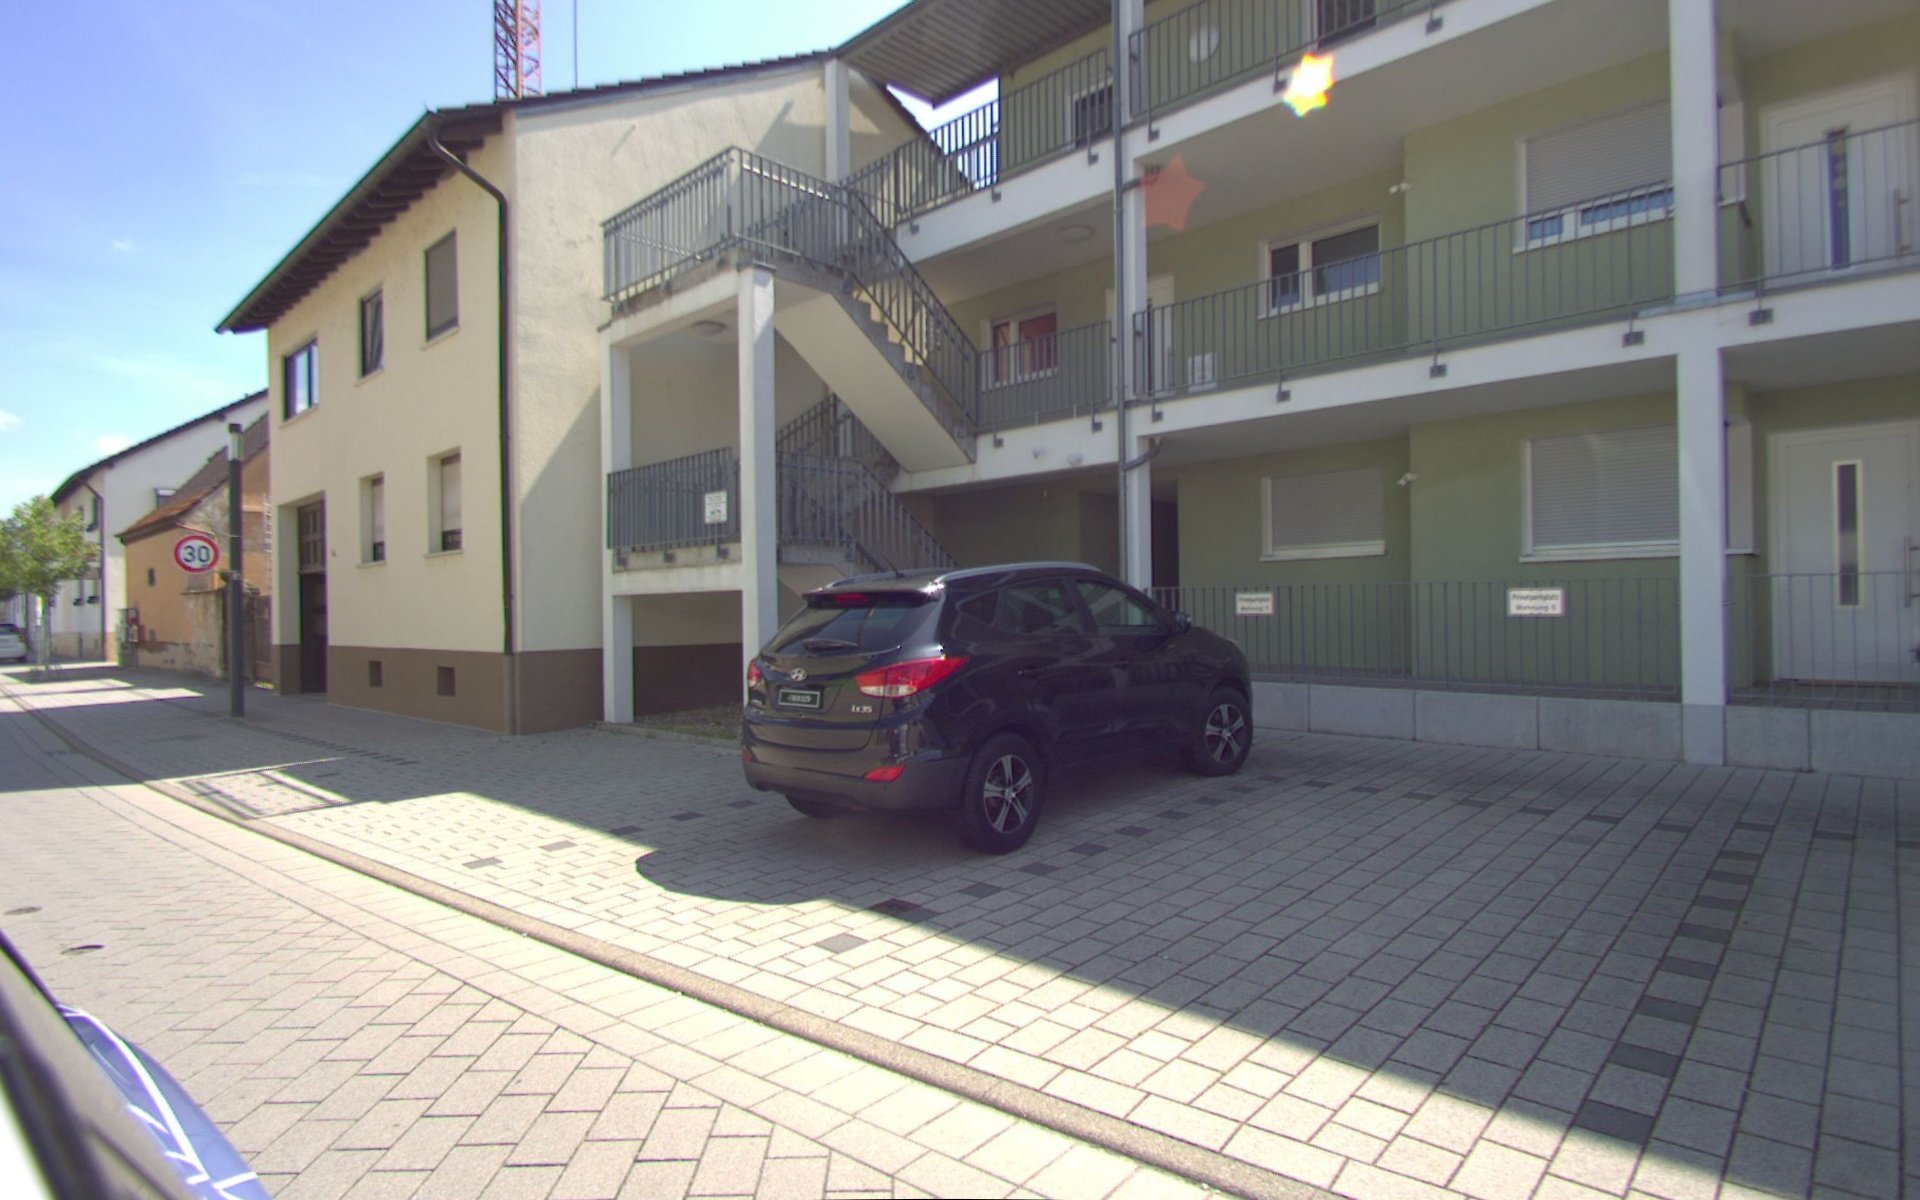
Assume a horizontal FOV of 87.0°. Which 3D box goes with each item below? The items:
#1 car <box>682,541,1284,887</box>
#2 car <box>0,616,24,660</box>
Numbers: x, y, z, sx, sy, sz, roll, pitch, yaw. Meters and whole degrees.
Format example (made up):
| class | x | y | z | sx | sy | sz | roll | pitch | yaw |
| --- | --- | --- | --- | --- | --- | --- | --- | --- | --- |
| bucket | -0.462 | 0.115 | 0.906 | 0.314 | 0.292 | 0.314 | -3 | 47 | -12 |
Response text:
| class | x | y | z | sx | sy | sz | roll | pitch | yaw |
| --- | --- | --- | --- | --- | --- | --- | --- | --- | --- |
| car | 0.423 | 0.484 | 7.034 | 1.785 | 1.670 | 4.172 | -1 | 1 | 44 |
| car | -36.529 | 1.441 | 38.274 | 1.554 | 1.573 | 2.824 | -4 | 2 | -44 |
